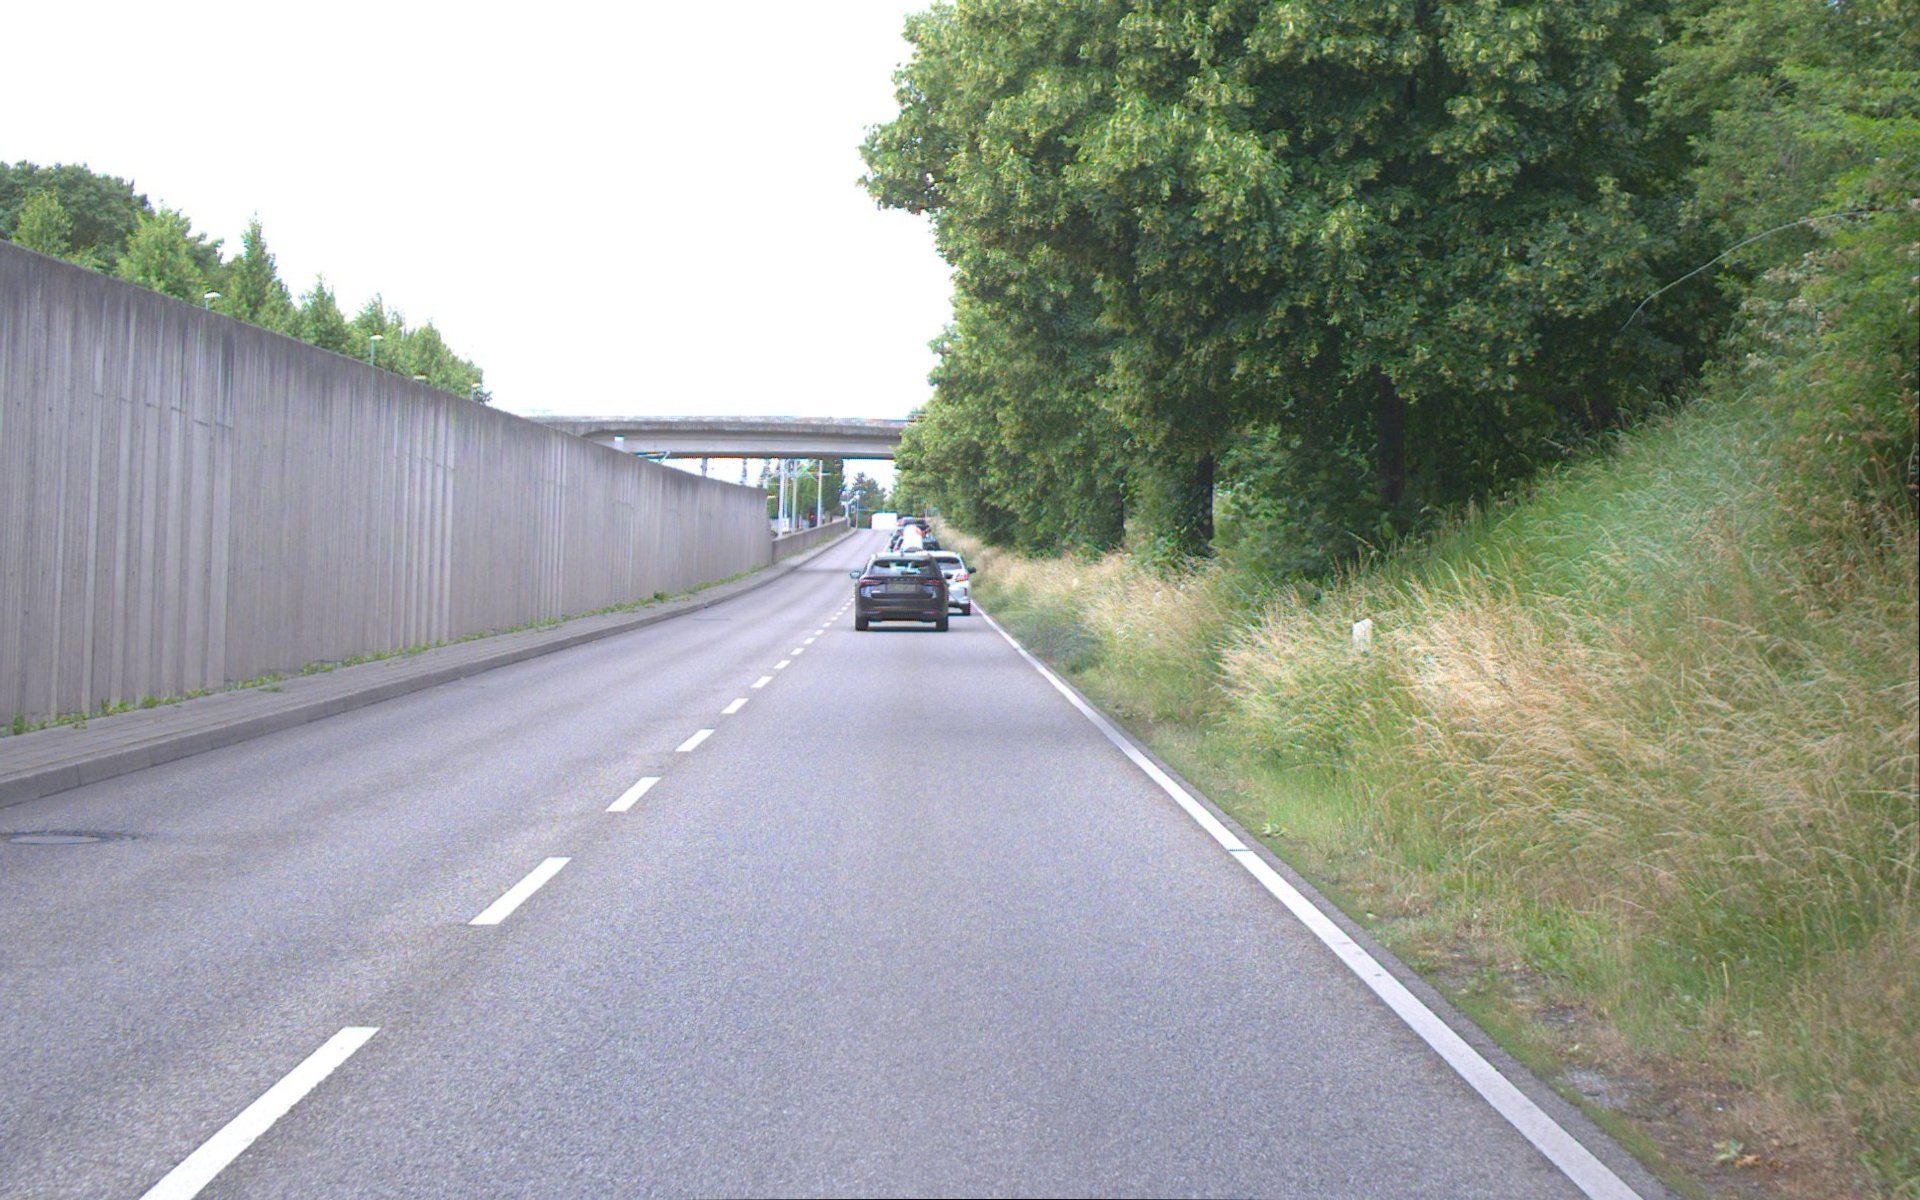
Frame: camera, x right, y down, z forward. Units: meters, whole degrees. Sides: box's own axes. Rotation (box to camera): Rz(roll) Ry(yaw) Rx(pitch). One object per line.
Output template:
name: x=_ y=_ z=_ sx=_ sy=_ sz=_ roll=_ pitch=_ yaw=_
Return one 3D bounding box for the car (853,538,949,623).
car: x=-1.118 y=-0.349 z=65.446 sx=1.754 sy=1.518 sz=4.036 roll=0 pitch=-1 yaw=-1

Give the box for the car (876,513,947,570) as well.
car: x=-1.430 y=-1.692 z=99.760 sx=1.866 sy=1.485 sz=4.257 roll=4 pitch=1 yaw=-2

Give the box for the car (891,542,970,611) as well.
car: x=-0.704 y=-0.530 z=80.583 sx=1.754 sy=1.518 sz=4.036 roll=-1 pitch=0 yaw=-1
